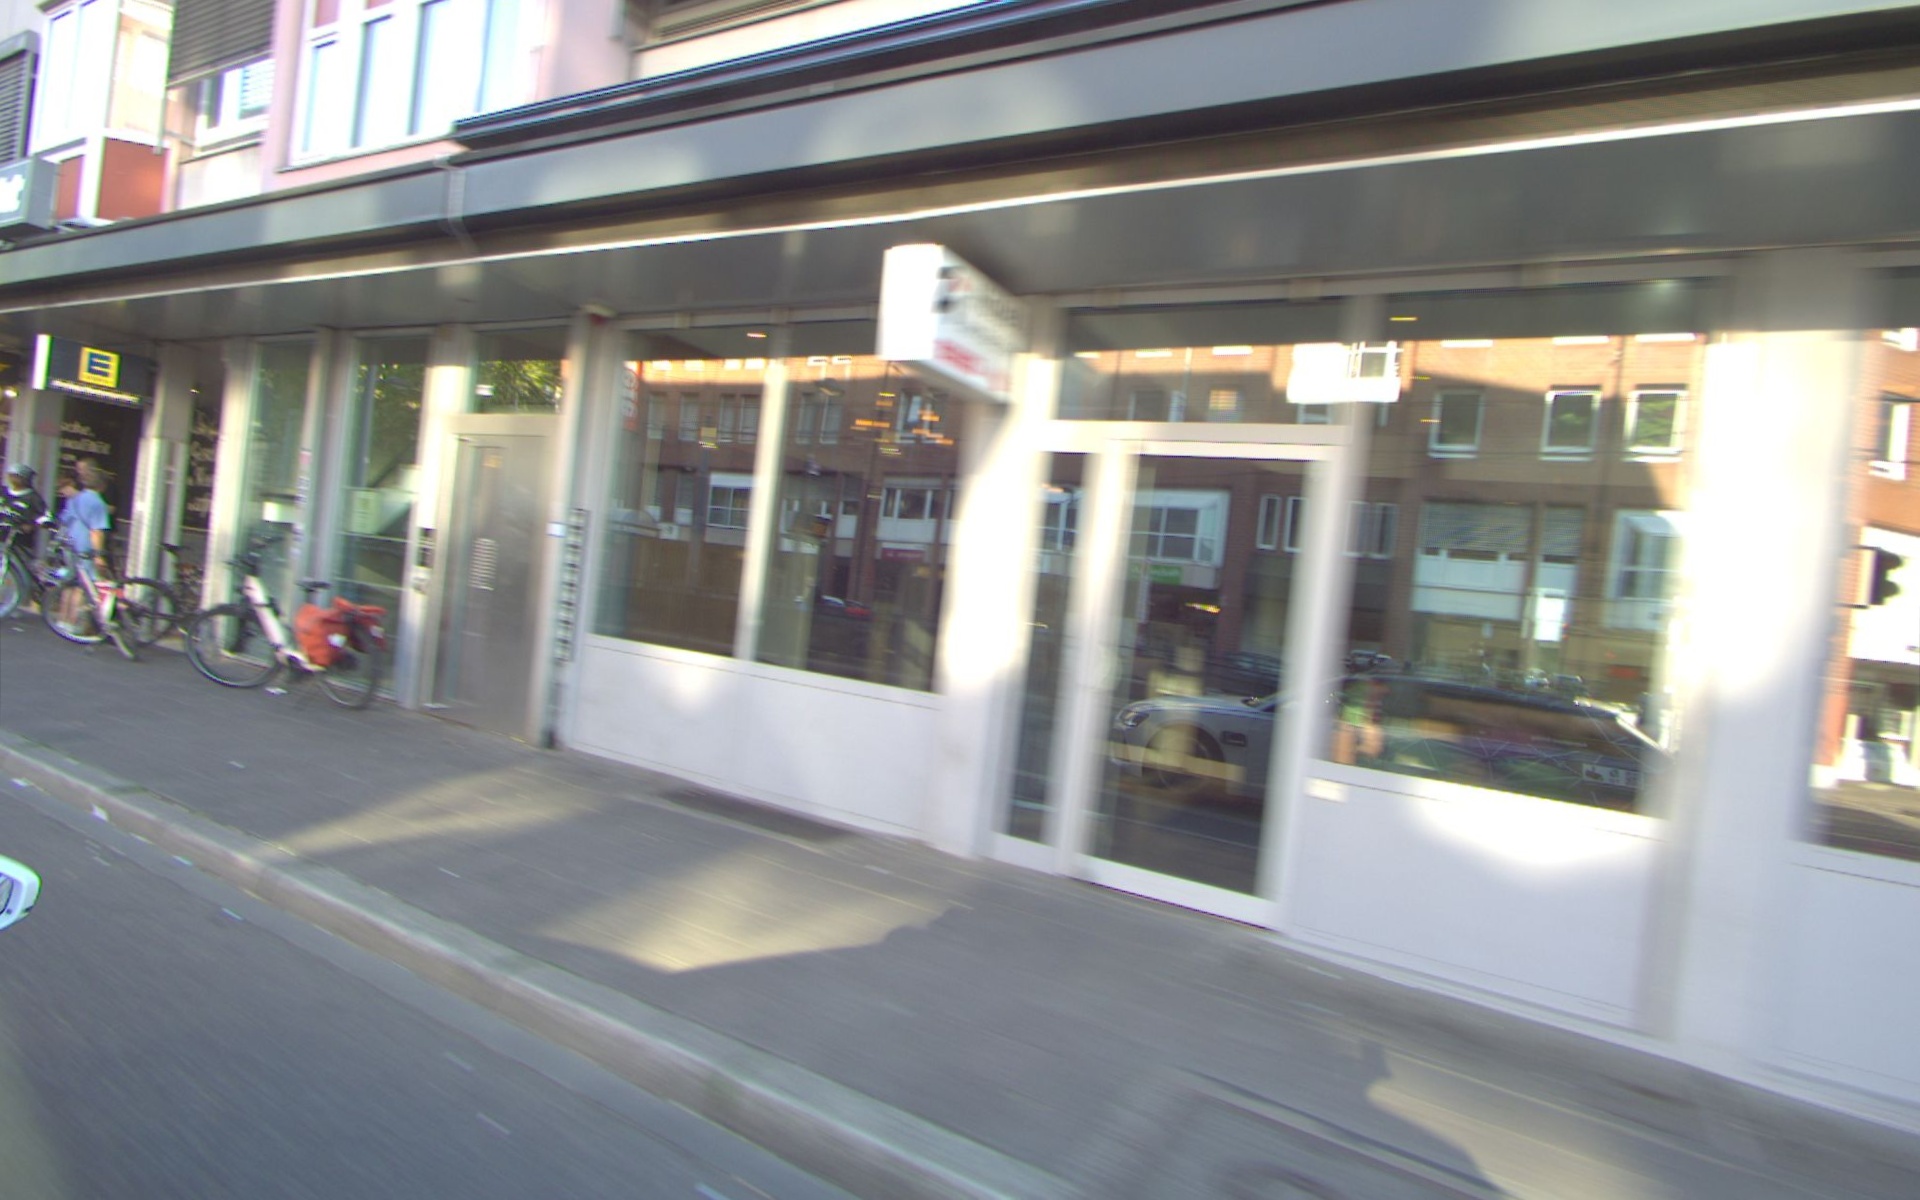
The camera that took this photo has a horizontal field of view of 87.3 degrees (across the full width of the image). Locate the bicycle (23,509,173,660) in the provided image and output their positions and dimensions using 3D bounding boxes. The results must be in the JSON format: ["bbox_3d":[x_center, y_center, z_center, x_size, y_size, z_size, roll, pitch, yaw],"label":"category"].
[{"bbox_3d":[-7.781,-0.158,9.056,1.610,1.192,0.797,7,4,41],"label":"bicycle"}]

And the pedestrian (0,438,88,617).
[{"bbox_3d":[-10.216,-0.787,10.855,0.793,1.838,0.732,7,0,-8],"label":"pedestrian"}]

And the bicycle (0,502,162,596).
[{"bbox_3d":[-11.652,-0.650,13.051,0.566,1.074,1.927,7,1,27],"label":"bicycle"}]

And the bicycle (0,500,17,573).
[{"bbox_3d":[-15.055,-1.011,14.566,0.566,1.074,1.926,7,1,29],"label":"bicycle"}]

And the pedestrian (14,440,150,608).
[{"bbox_3d":[-10.414,-0.873,11.967,0.793,1.838,0.732,7,0,-7],"label":"pedestrian"}]

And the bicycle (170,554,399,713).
[{"bbox_3d":[-5.281,0.219,7.836,1.810,0.990,0.676,6,5,27],"label":"bicycle"}]

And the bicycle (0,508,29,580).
[{"bbox_3d":[-13.911,-0.820,13.695,0.498,0.987,1.729,7,3,34],"label":"bicycle"}]

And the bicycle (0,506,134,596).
[{"bbox_3d":[-12.252,-0.659,13.310,0.566,1.074,1.927,7,1,27],"label":"bicycle"}]

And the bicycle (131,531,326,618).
[{"bbox_3d":[-9.311,-0.299,12.904,0.566,0.950,1.927,7,1,27],"label":"bicycle"}]

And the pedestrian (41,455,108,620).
[{"bbox_3d":[-8.981,-0.629,10.214,0.403,1.617,0.457,3,4,-32],"label":"pedestrian"}]
